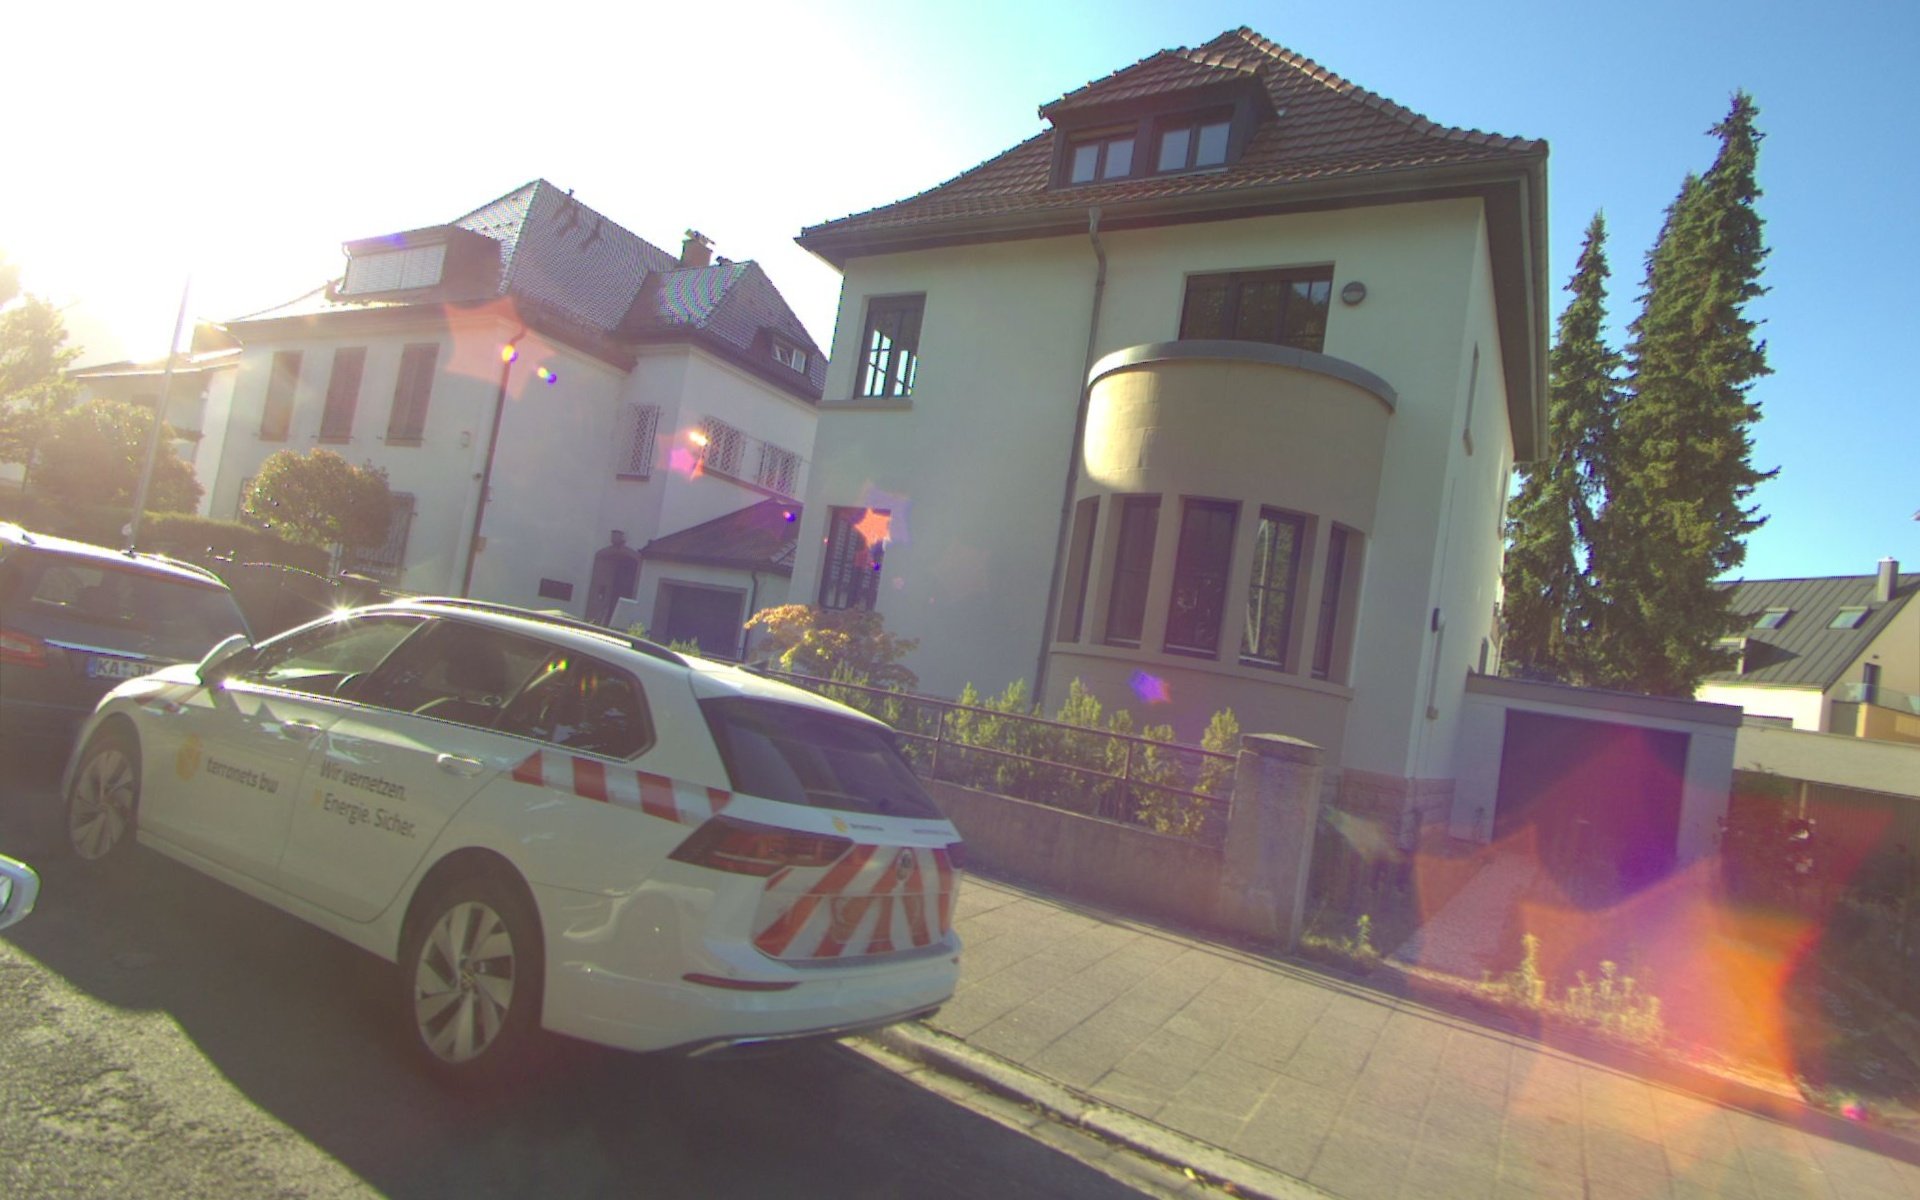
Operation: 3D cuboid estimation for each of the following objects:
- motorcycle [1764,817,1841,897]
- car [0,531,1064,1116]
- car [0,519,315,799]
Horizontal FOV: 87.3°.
[{"bbox_3d":[16.893,5.130,20.219,0.730,1.306,1.877,7,-5,30],"label":"motorcycle"},{"bbox_3d":[-2.052,0.756,4.623,4.474,1.472,2.009,3,-14,30],"label":"car"},{"bbox_3d":[-6.920,0.210,7.286,4.517,1.475,1.789,7,-8,32],"label":"car"}]
